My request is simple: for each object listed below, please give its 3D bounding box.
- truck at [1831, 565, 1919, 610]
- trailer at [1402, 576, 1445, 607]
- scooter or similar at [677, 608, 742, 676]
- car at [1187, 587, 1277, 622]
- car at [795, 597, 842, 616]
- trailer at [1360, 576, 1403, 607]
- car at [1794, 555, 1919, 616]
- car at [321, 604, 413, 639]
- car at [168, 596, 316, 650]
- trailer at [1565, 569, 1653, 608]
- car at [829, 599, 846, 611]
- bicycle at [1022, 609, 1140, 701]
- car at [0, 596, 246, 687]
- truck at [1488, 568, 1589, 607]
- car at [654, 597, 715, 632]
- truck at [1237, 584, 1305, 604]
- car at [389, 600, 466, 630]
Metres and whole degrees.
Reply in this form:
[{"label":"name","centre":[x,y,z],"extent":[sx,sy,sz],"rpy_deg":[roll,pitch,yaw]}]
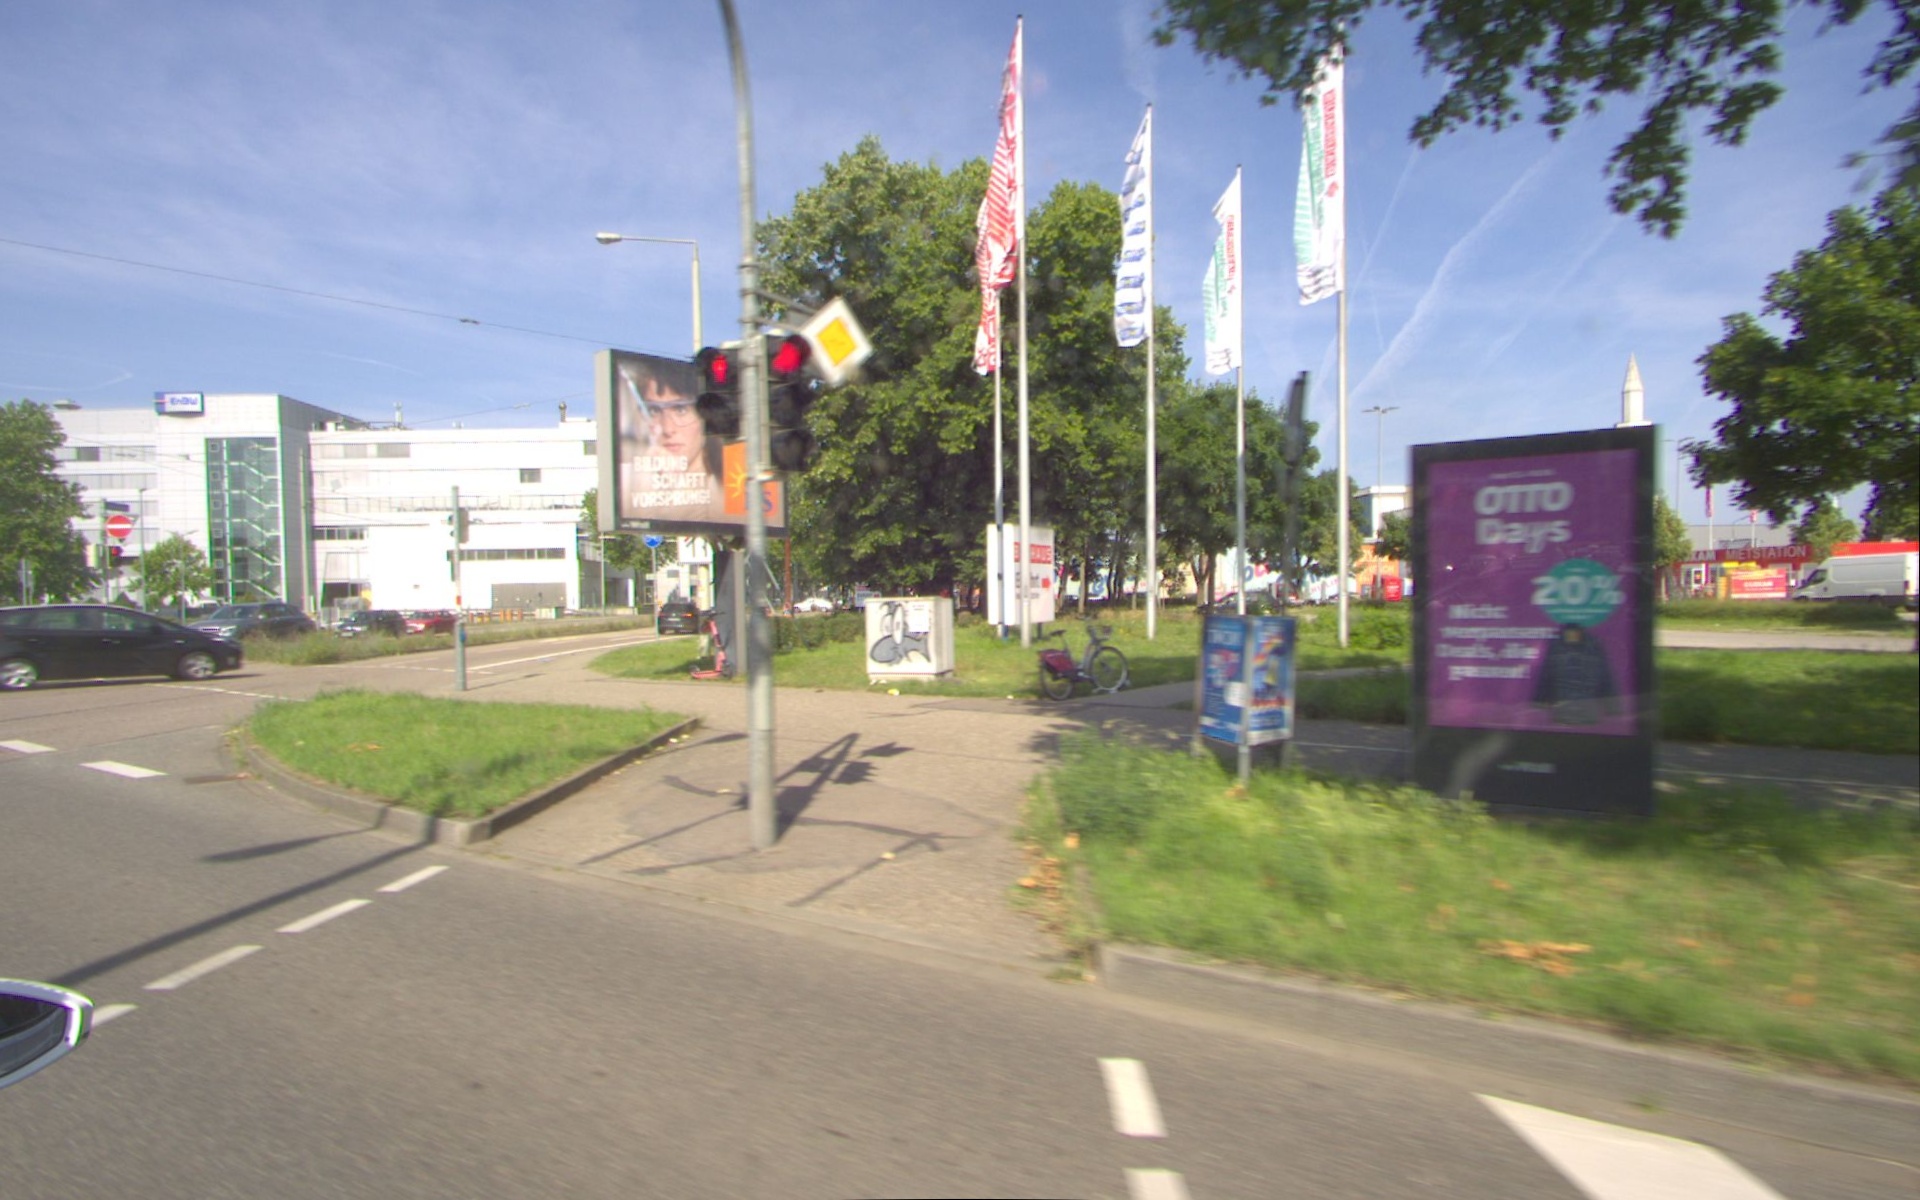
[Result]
[{"label":"truck","centre":[47.586,-0.646,50.356],"extent":[5.751,2.168,2.066],"rpy_deg":[-1,1,0]},{"label":"trailer","centre":[37.232,-0.707,80.499],"extent":[1.520,2.390,4.410],"rpy_deg":[0,1,2]},{"label":"scooter or similar","centre":[-4.348,0.722,17.353],"extent":[1.108,1.141,0.423],"rpy_deg":[0,1,32]},{"label":"car","centre":[13.184,0.207,48.664],"extent":[3.972,1.608,1.730],"rpy_deg":[-1,0,5]},{"label":"car","centre":[-14.067,0.642,99.883],"extent":[4.537,1.711,1.915],"rpy_deg":[-1,1,-6]},{"label":"trailer","centre":[34.093,-0.719,81.157],"extent":[1.560,2.408,4.410],"rpy_deg":[0,1,-1]},{"label":"car","centre":[41.418,-0.672,45.473],"extent":[1.980,2.576,5.687],"rpy_deg":[-3,0,-5]},{"label":"car","centre":[-27.826,0.971,47.150],"extent":[1.747,1.463,4.625],"rpy_deg":[-1,0,-3]},{"label":"car","centre":[-24.383,0.728,34.266],"extent":[1.878,1.711,4.625],"rpy_deg":[-1,0,-3]},{"label":"trailer","centre":[40.623,-0.725,62.713],"extent":[4.325,2.409,1.751],"rpy_deg":[0,1,1]},{"label":"car","centre":[-16.067,0.647,131.525],"extent":[1.815,1.530,4.342],"rpy_deg":[-1,0,-2]},{"label":"bicycle","centre":[1.686,0.720,13.748],"extent":[1.770,1.123,0.499],"rpy_deg":[-3,2,-39]},{"label":"car","centre":[-17.218,0.763,20.151],"extent":[1.794,1.627,4.340],"rpy_deg":[0,1,42]},{"label":"truck","centre":[39.519,-0.840,68.464],"extent":[5.914,2.644,2.018],"rpy_deg":[0,1,-5]},{"label":"car","centre":[-12.636,0.638,46.178],"extent":[1.815,1.530,4.393],"rpy_deg":[-1,0,-3]},{"label":"truck","centre":[29.900,-0.554,96.326],"extent":[5.888,1.855,2.188],"rpy_deg":[0,-1,-2]},{"label":"car","centre":[-27.990,0.775,52.794],"extent":[1.747,1.463,4.625],"rpy_deg":[-1,0,-3]}]
